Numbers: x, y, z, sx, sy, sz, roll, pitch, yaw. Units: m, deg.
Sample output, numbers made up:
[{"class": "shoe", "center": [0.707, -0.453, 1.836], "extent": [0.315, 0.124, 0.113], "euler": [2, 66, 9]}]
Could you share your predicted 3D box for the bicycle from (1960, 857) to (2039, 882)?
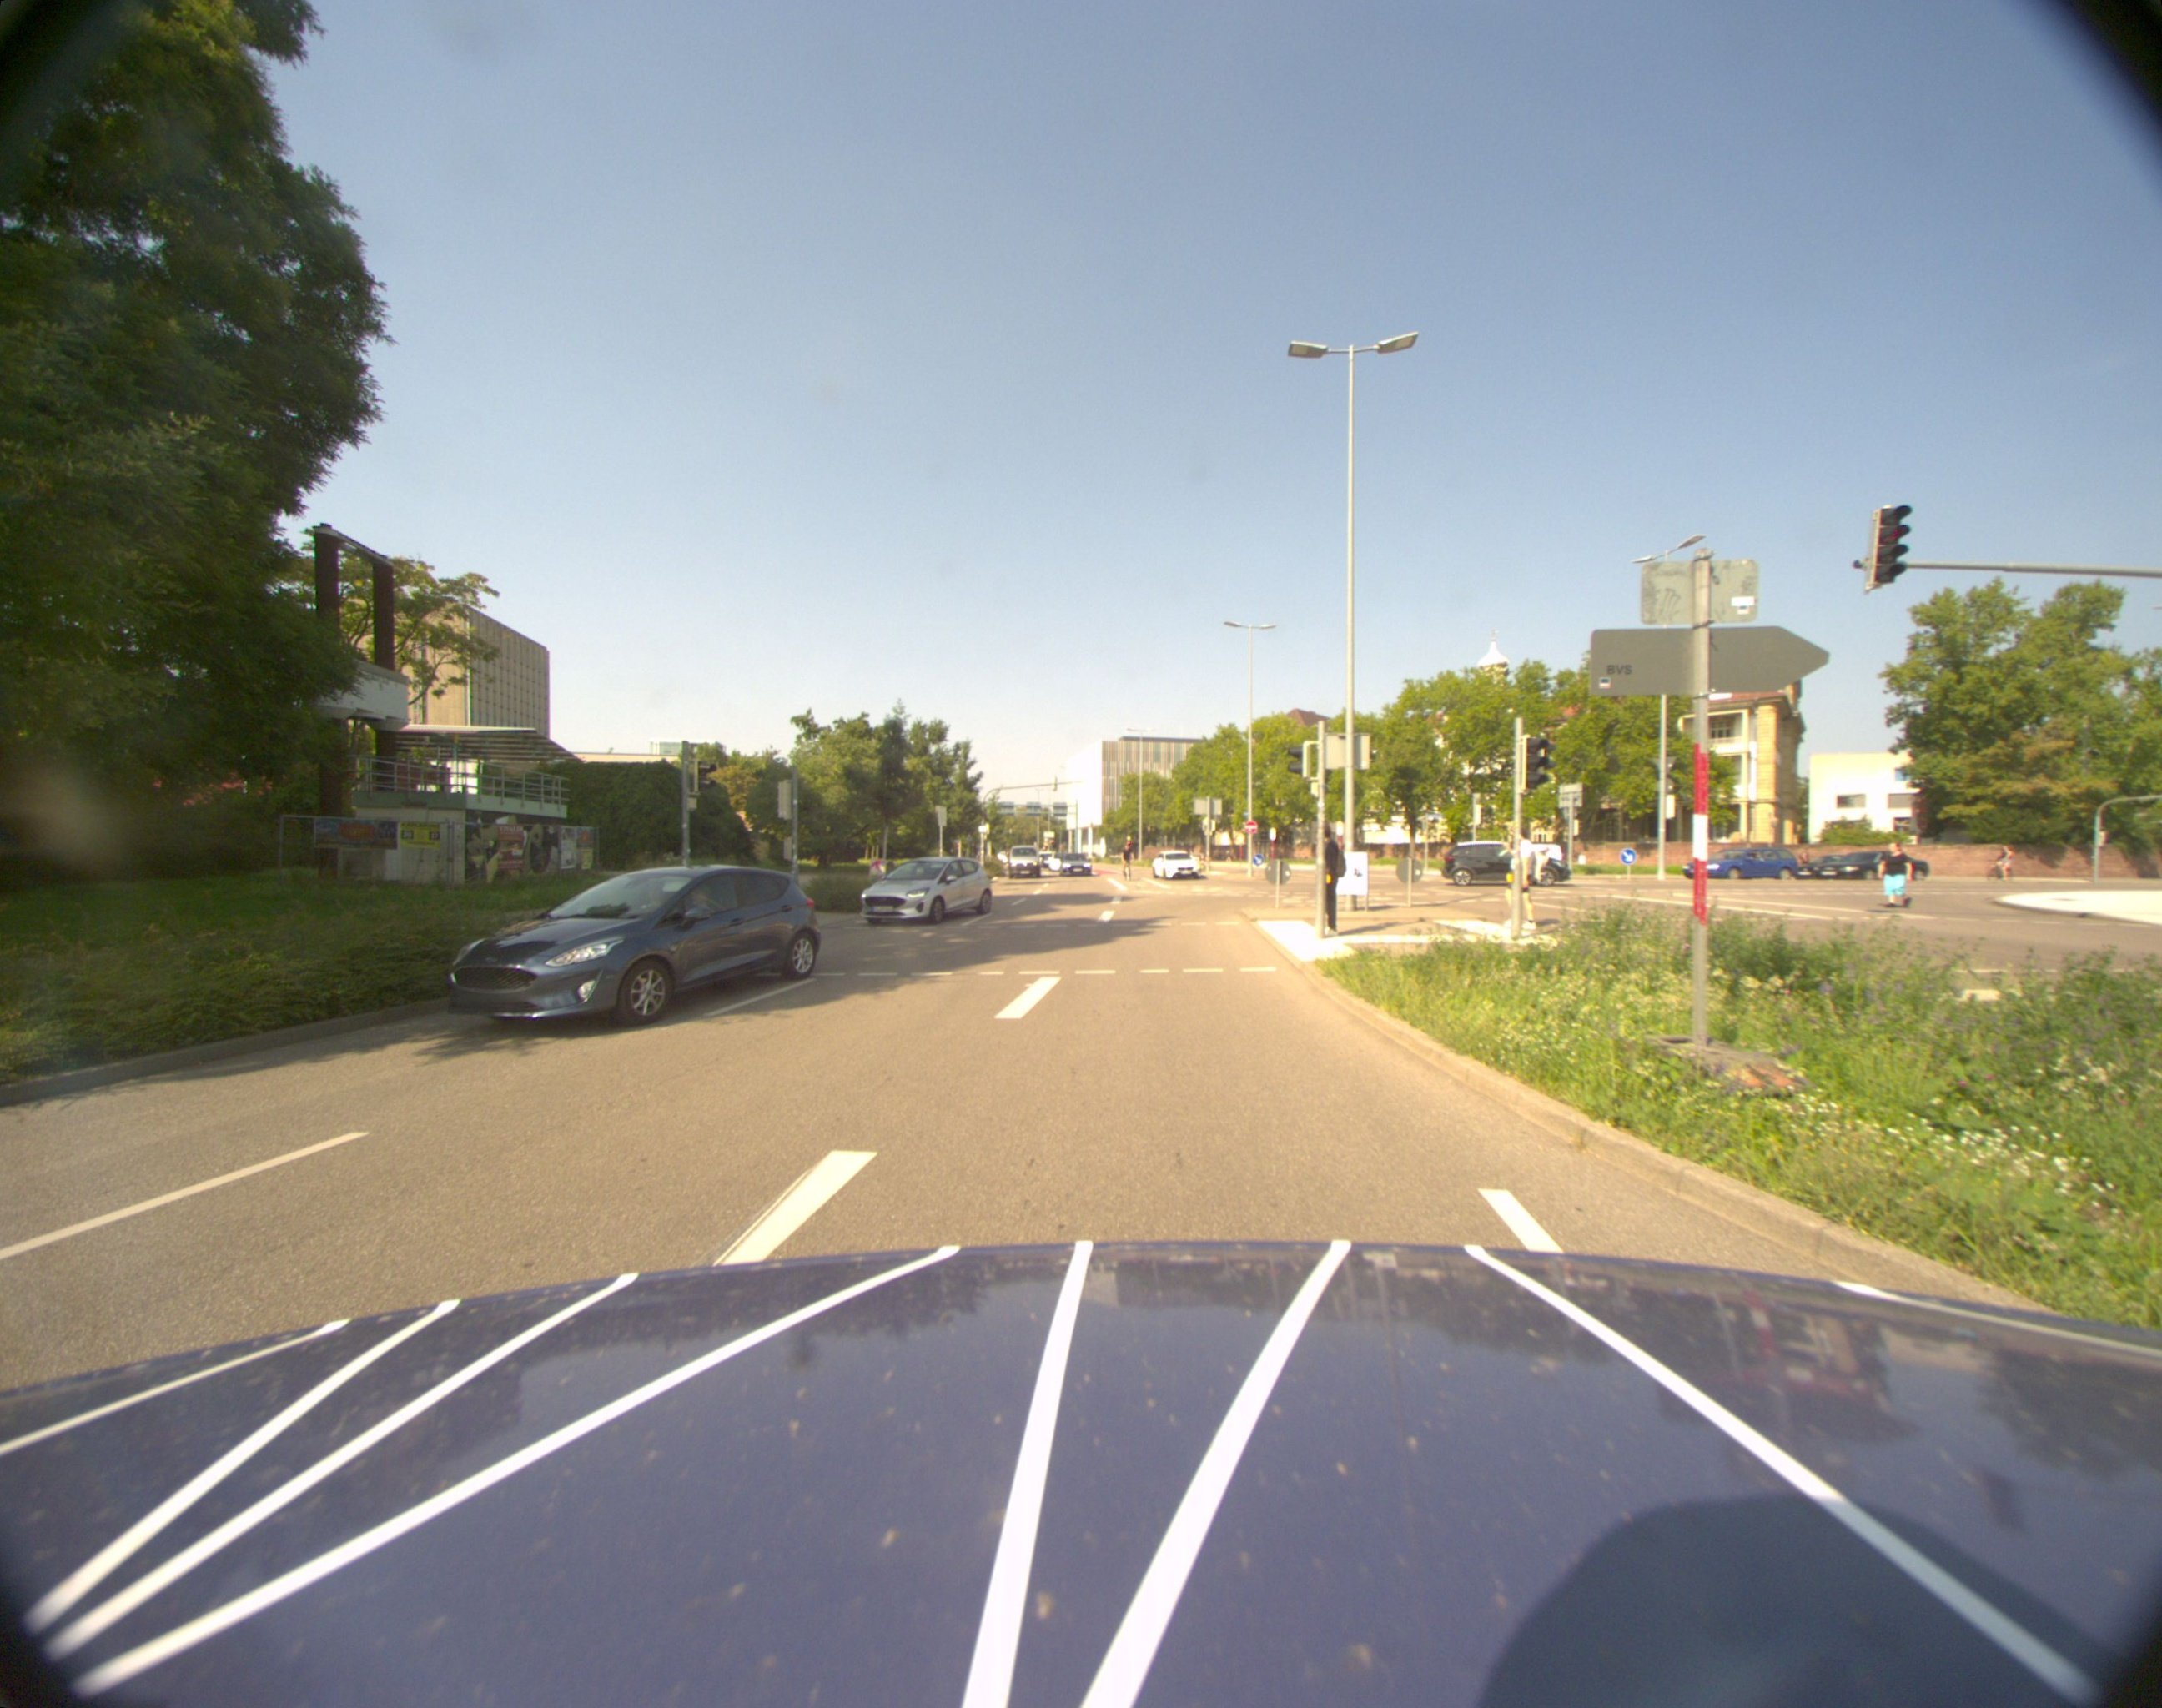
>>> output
[{"class": "bicycle", "center": [44.799, 0.756, 37.075], "extent": [3.077, 1.197, 0.887], "euler": [0, -2, -6]}]

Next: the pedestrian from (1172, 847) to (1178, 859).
[{"class": "pedestrian", "center": [13.740, -0.143, 111.048], "extent": [0.484, 1.641, 0.593], "euler": [1, -2, -27]}]

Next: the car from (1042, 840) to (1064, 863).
[{"class": "car", "center": [-2.630, -0.208, 70.987], "extent": [1.749, 2.001, 3.748], "euler": [0, -2, -7]}]

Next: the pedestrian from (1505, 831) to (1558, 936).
[{"class": "pedestrian", "center": [8.005, 0.508, 13.512], "extent": [0.693, 1.822, 0.571], "euler": [0, 1, 19]}]

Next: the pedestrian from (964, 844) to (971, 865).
[{"class": "pedestrian", "center": [-10.205, 0.036, 68.324], "extent": [0.623, 1.835, 0.641], "euler": [0, 1, -8]}]

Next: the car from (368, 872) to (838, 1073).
[{"class": "car", "center": [-4.528, 0.987, 8.154], "extent": [1.638, 1.419, 4.326], "euler": [-1, 0, 13]}]

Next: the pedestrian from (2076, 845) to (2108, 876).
[{"class": "pedestrian", "center": [64.897, 0.431, 48.787], "extent": [0.907, 2.001, 0.822], "euler": [0, -1, 5]}]

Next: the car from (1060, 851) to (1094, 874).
[{"class": "car", "center": [-0.324, 0.508, 48.196], "extent": [1.910, 1.392, 4.918], "euler": [0, 1, -3]}]

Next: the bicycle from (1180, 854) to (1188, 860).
[{"class": "bicycle", "center": [15.506, 0.491, 114.425], "extent": [0.434, 0.830, 1.547], "euler": [0, 1, -22]}]

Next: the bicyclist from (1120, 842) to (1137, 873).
[{"class": "bicyclist", "center": [2.460, 0.170, 39.504], "extent": [0.749, 1.626, 0.875], "euler": [0, 1, -6]}]

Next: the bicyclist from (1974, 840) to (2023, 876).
[{"class": "bicyclist", "center": [44.746, 0.194, 37.083], "extent": [1.369, 1.735, 0.887], "euler": [0, -1, -6]}]

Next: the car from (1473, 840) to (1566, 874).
[{"class": "car", "center": [22.837, 0.183, 39.697], "extent": [3.990, 1.667, 1.760], "euler": [-1, -2, 22]}]

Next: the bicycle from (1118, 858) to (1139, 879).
[{"class": "bicycle", "center": [2.451, 0.748, 39.538], "extent": [0.770, 1.046, 1.774], "euler": [0, 1, -6]}]

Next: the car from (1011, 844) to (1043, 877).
[{"class": "car", "center": [-3.278, 0.363, 46.419], "extent": [1.846, 1.864, 4.971], "euler": [-1, 0, -3]}]

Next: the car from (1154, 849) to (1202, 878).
[{"class": "car", "center": [5.024, 0.482, 39.807], "extent": [1.715, 1.428, 3.862], "euler": [0, 1, -5]}]

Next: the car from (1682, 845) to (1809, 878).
[{"class": "car", "center": [27.546, 0.281, 31.533], "extent": [4.334, 1.321, 1.606], "euler": [0, 1, -11]}]

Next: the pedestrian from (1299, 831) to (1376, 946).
[{"class": "pedestrian", "center": [4.202, 0.541, 12.516], "extent": [1.081, 1.829, 0.730], "euler": [0, 1, 9]}]

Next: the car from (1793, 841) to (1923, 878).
[{"class": "car", "center": [33.560, 0.212, 32.880], "extent": [4.000, 1.543, 1.998], "euler": [0, 1, -10]}]

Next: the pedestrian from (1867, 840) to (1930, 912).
[{"class": "pedestrian", "center": [18.383, 0.479, 17.095], "extent": [0.668, 1.556, 0.752], "euler": [0, 3, -27]}]

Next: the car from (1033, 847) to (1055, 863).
[{"class": "car", "center": [-4.147, 0.082, 84.154], "extent": [1.933, 1.650, 4.291], "euler": [0, 0, -10]}]

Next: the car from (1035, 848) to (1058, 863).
[{"class": "car", "center": [-3.603, 0.128, 78.371], "extent": [1.933, 1.497, 4.291], "euler": [0, 0, -9]}]

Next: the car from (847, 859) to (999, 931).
[{"class": "car", "center": [-3.547, 0.875, 17.802], "extent": [1.717, 1.425, 3.865], "euler": [-1, 0, 19]}]

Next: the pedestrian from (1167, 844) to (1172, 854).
[{"class": "pedestrian", "center": [13.187, -0.768, 113.167], "extent": [0.536, 1.562, 0.501], "euler": [-1, 1, -29]}]

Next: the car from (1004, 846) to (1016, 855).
[{"class": "car", "center": [-12.781, -0.672, 136.193], "extent": [1.832, 1.674, 3.996], "euler": [0, 1, -9]}]

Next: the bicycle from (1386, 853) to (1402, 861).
[{"class": "bicycle", "center": [32.849, 0.306, 79.760], "extent": [0.435, 0.830, 1.546], "euler": [0, 1, -34]}]

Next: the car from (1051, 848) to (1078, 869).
[{"class": "car", "center": [-1.329, 0.381, 59.450], "extent": [1.828, 1.586, 3.828], "euler": [0, -2, -6]}]

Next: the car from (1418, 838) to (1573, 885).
[{"class": "car", "center": [14.687, 0.283, 27.211], "extent": [4.702, 1.569, 1.857], "euler": [-1, 0, 25]}]
